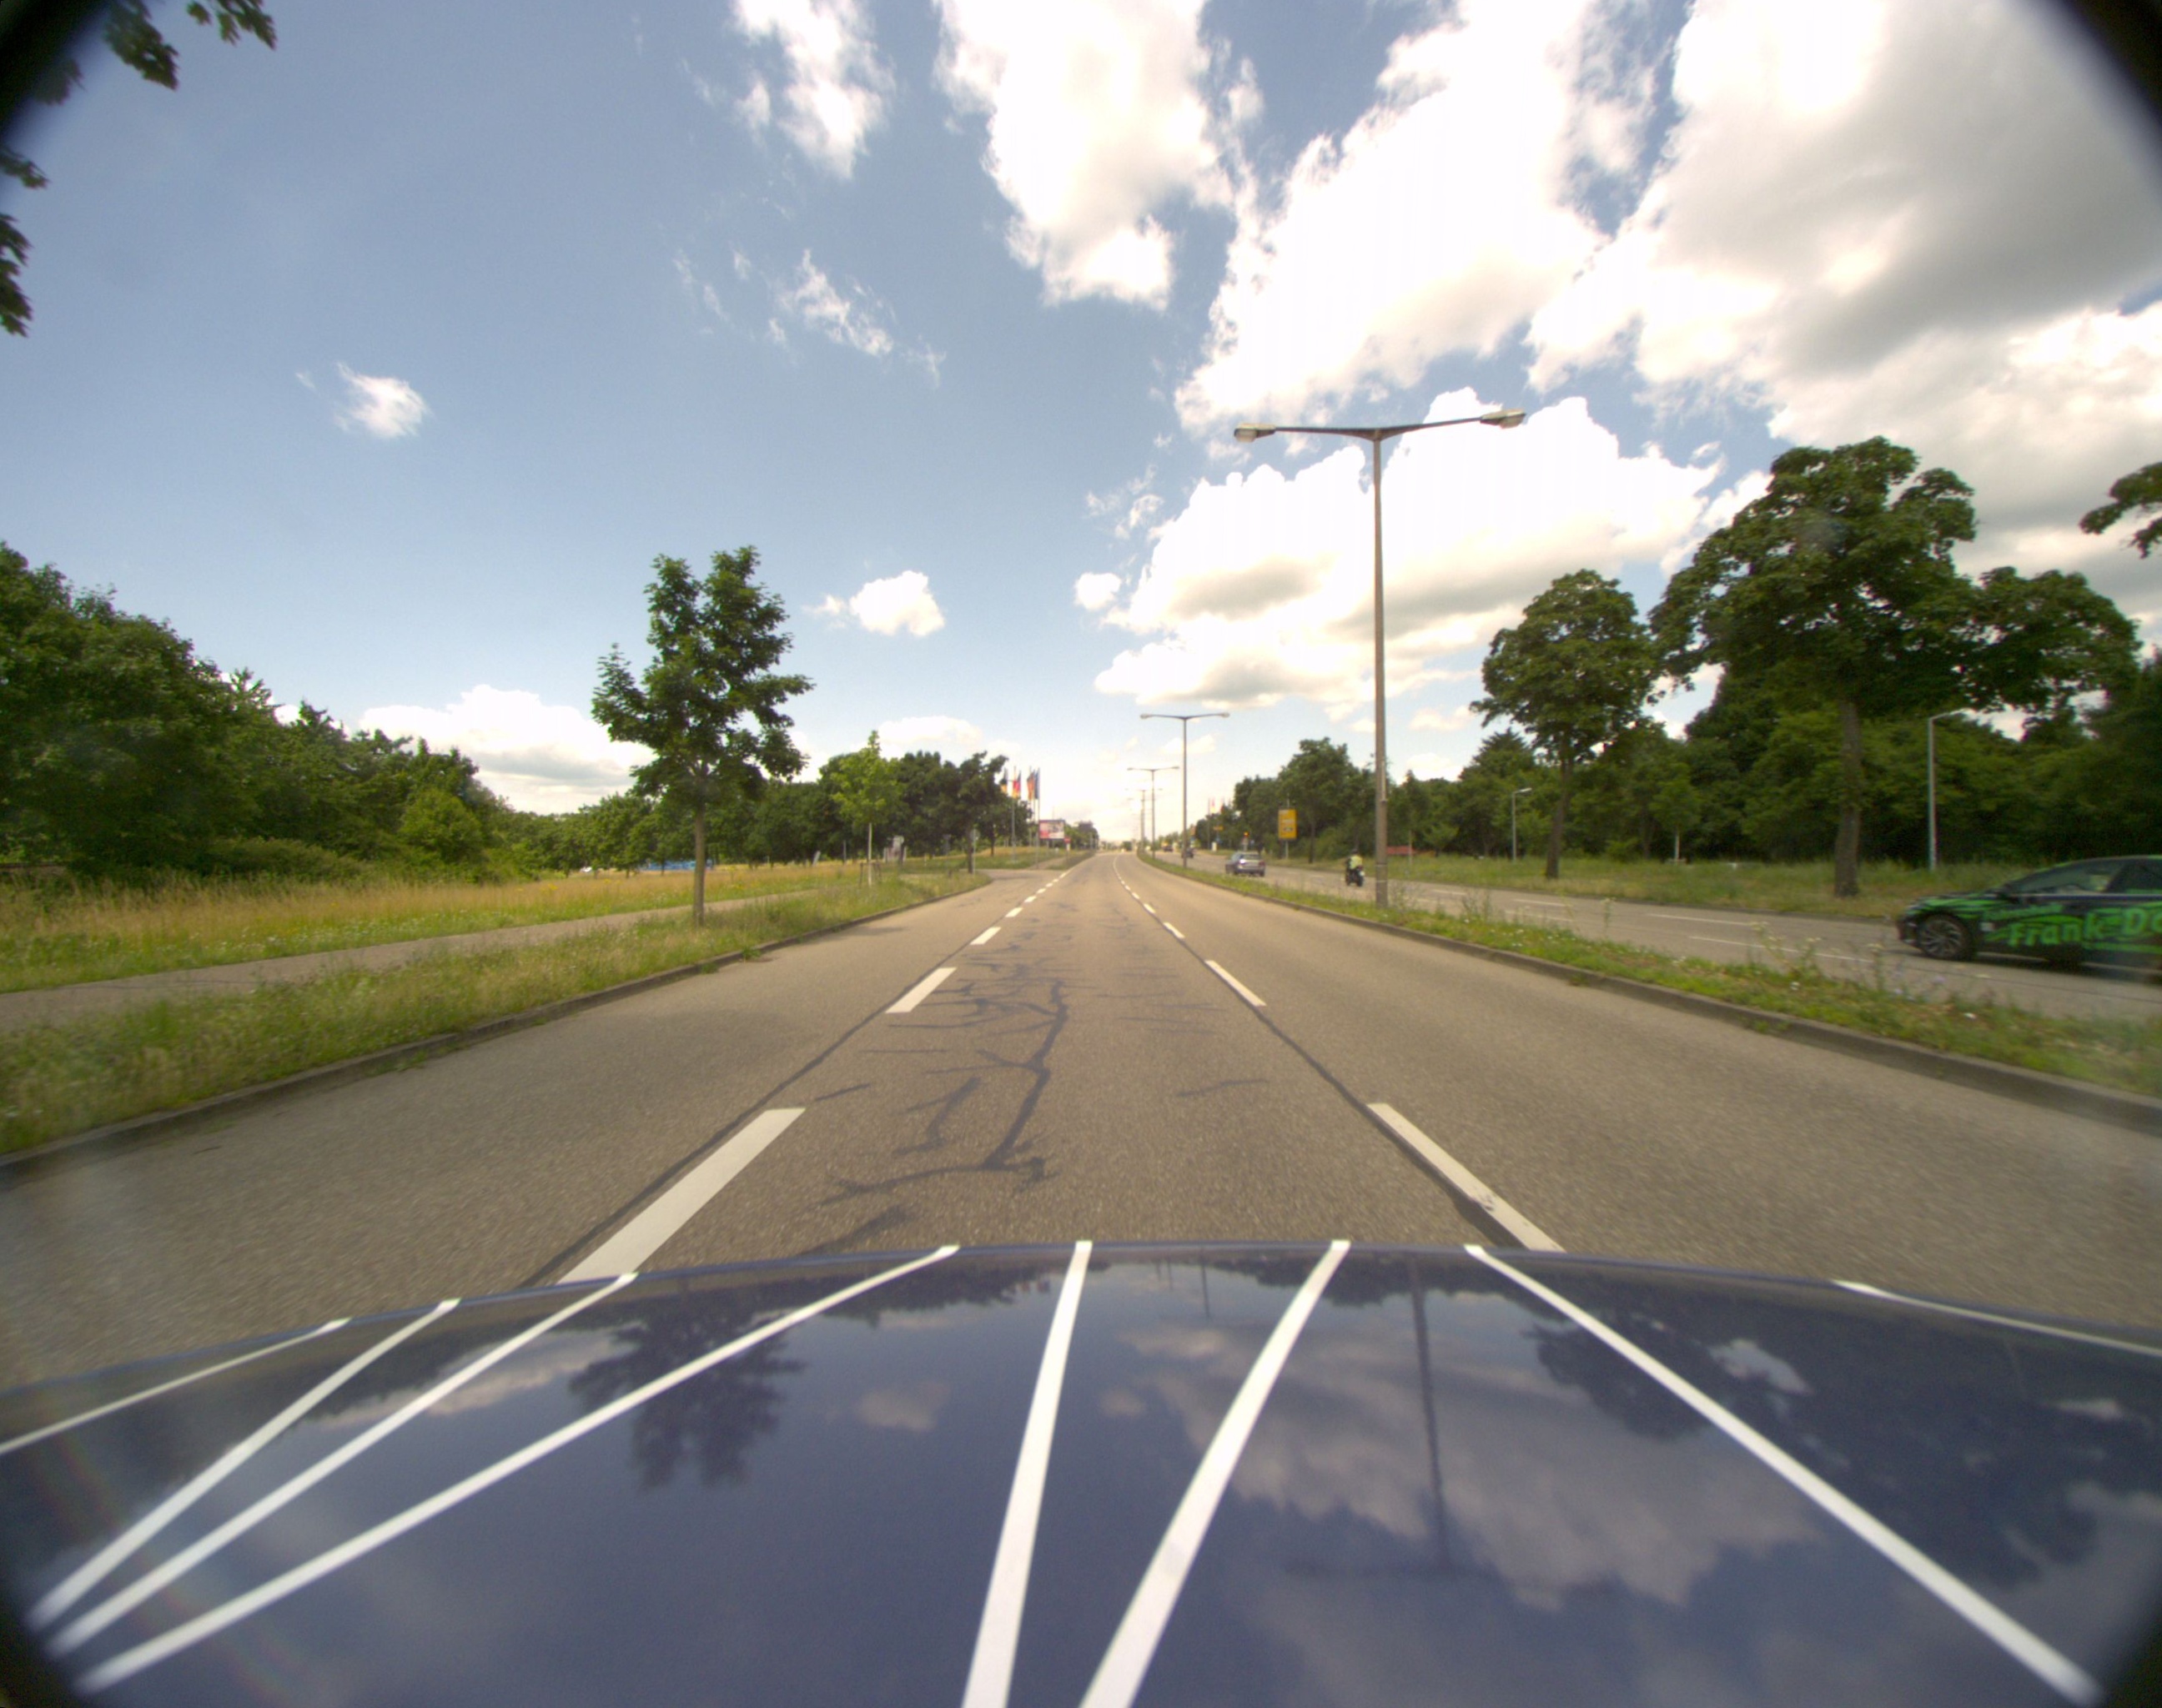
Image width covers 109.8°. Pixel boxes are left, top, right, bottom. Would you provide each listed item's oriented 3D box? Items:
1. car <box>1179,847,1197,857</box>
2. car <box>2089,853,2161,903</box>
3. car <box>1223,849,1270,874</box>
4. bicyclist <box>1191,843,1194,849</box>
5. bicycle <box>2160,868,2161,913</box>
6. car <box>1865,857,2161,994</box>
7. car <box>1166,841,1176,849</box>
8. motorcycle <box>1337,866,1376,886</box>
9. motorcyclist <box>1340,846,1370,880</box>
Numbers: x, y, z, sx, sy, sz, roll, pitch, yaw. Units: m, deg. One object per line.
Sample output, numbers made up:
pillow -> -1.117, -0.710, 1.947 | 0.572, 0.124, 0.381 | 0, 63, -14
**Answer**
car -> 15.550, -0.273, 110.696 | 1.706, 1.419, 3.671 | -1, 1, -8
car -> 38.750, 0.789, 26.714 | 3.997, 1.616, 2.000 | -2, 0, -1
car -> 9.885, 0.427, 45.782 | 1.815, 1.390, 4.734 | 0, 0, 0
bicyclist -> 25.499, -1.882, 173.152 | 0.522, 1.265, 1.107 | -2, 0, 1
bicycle -> 23.534, 0.795, 15.407 | 0.568, 0.972, 1.917 | 0, 1, 0
car -> 12.253, 0.798, 8.713 | 1.759, 1.450, 4.468 | 3, 0, -2
car -> 20.872, -2.171, 176.936 | 1.881, 1.780, 4.728 | 1, 1, 1
motorcycle -> 11.975, 0.955, 33.109 | 0.753, 0.767, 2.672 | -2, 0, 1
motorcyclist -> 11.948, 0.385, 33.172 | 0.829, 1.406, 1.328 | -2, 0, 1
